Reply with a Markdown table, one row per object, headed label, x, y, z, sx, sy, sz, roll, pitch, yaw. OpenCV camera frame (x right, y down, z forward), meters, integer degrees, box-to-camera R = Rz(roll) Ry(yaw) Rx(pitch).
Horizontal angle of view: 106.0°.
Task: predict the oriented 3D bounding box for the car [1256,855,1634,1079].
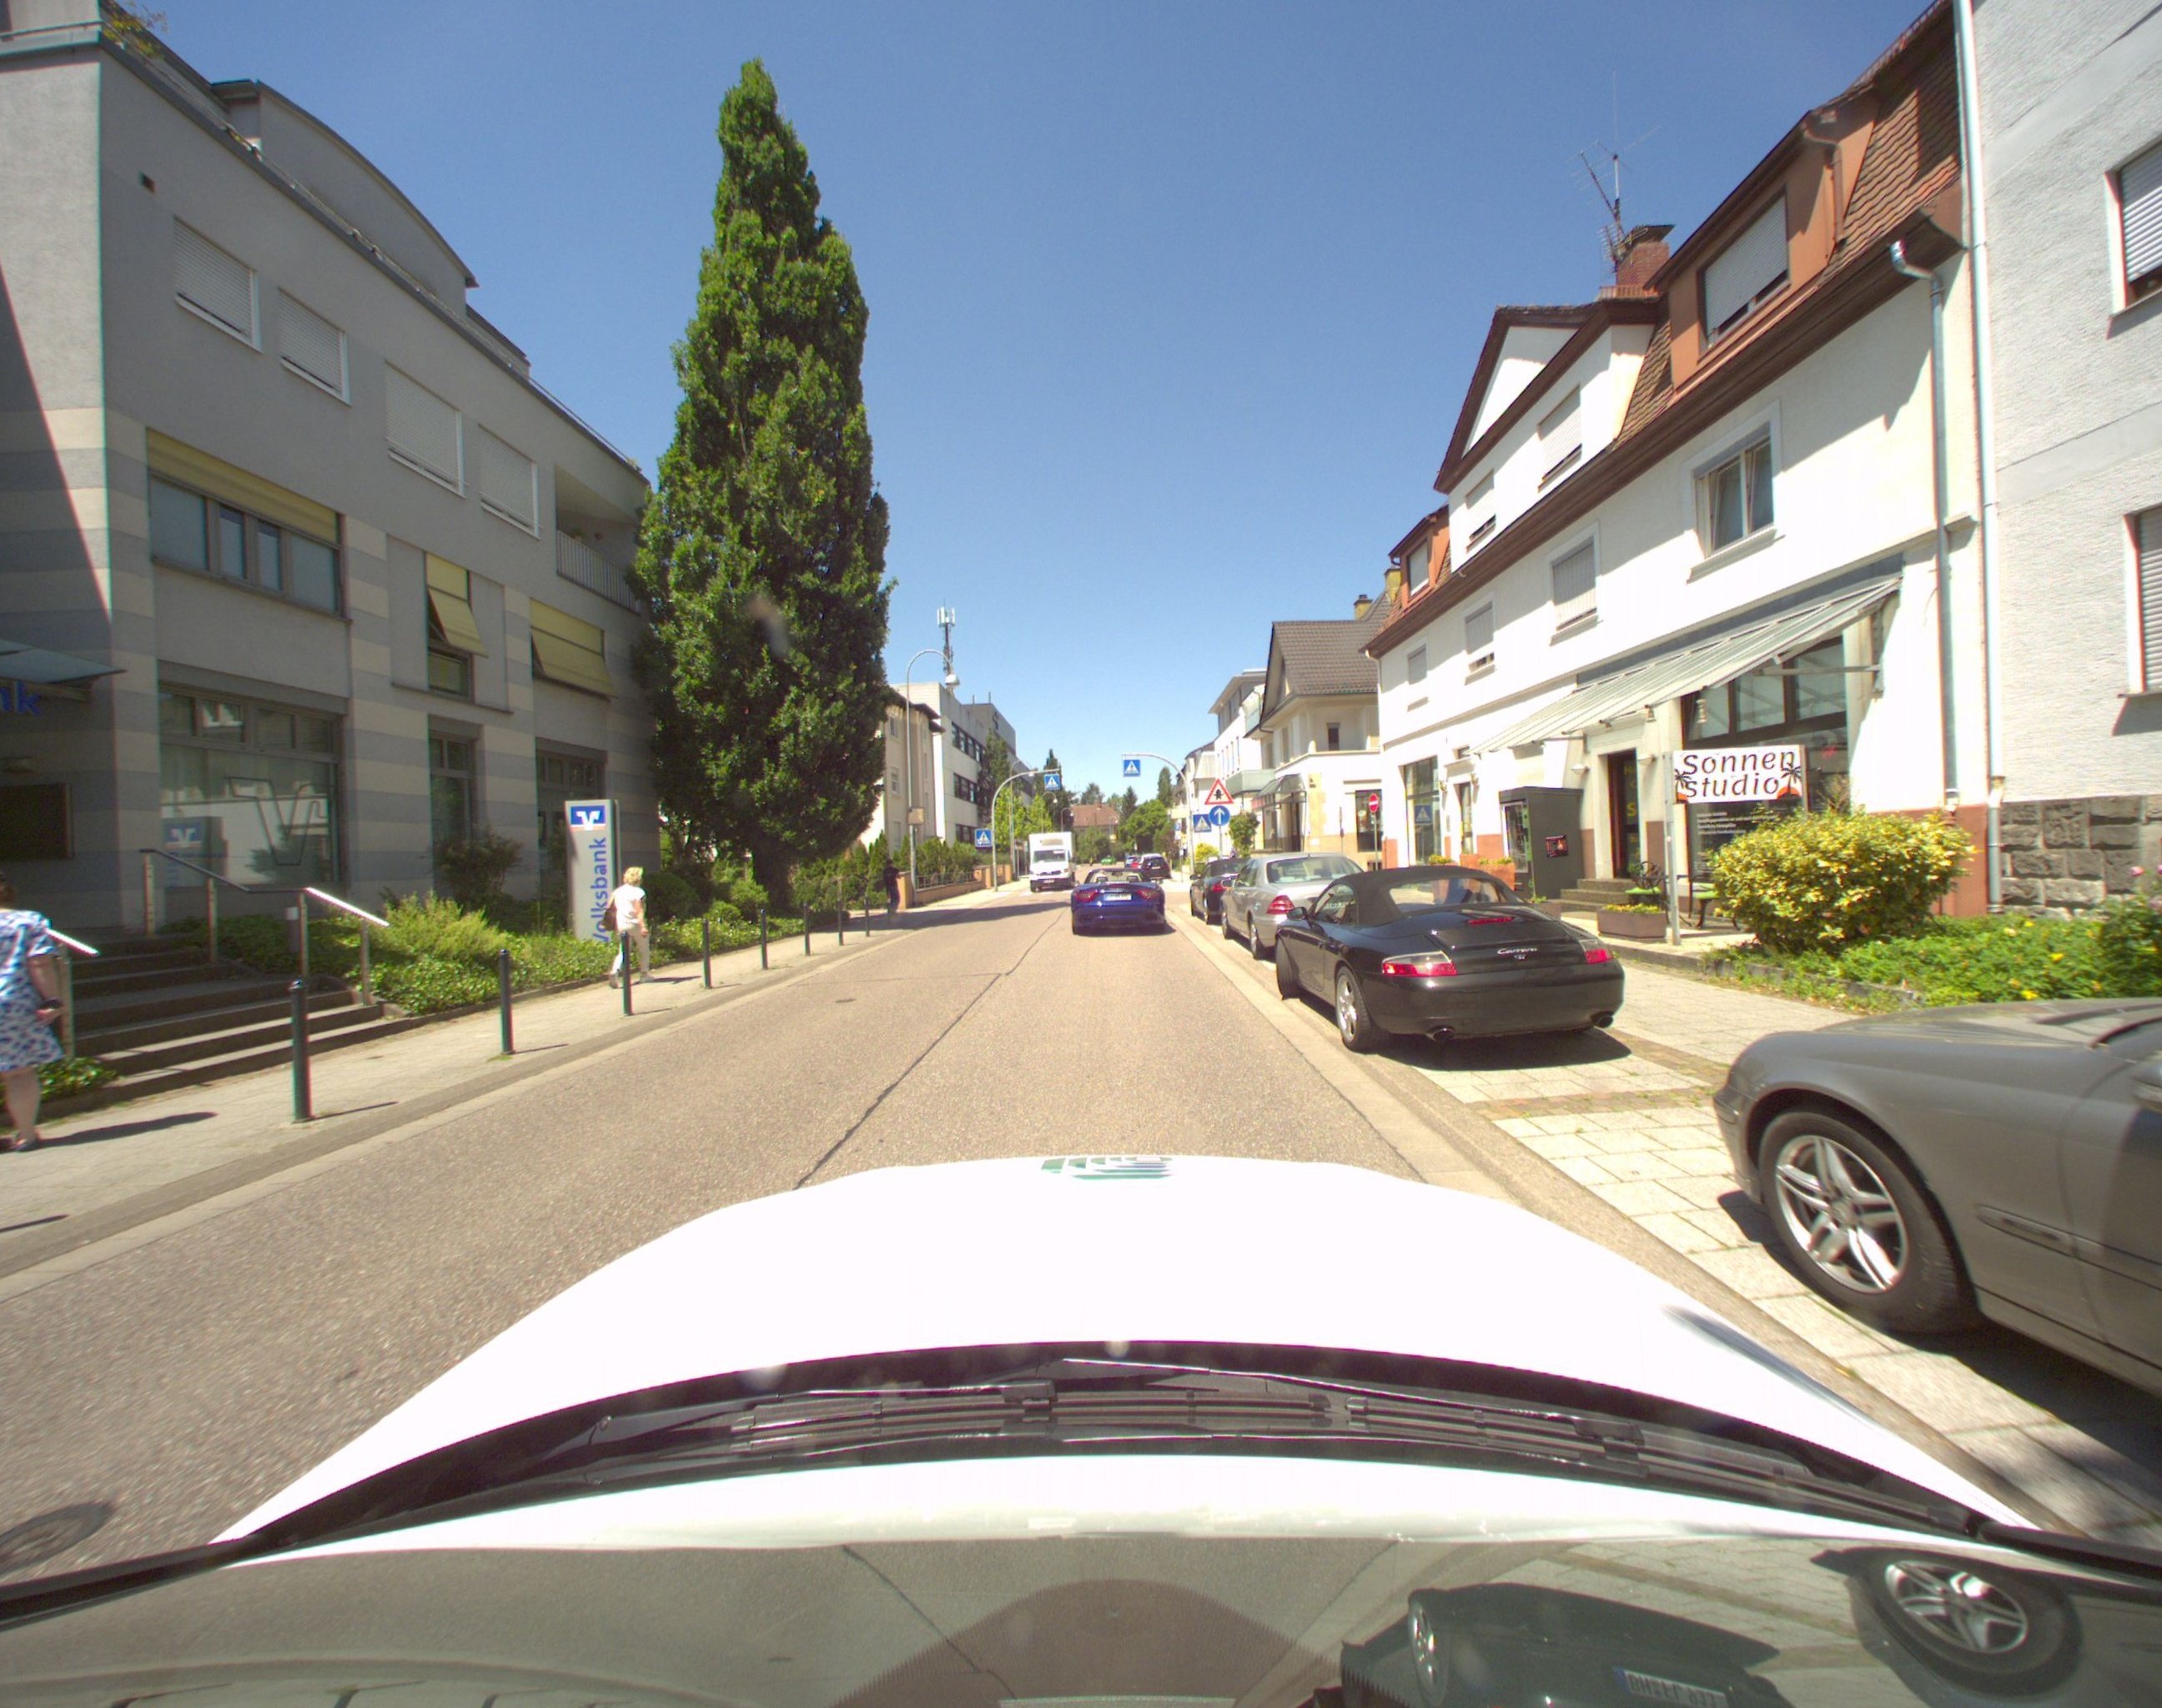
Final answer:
| label | x | y | z | sx | sy | sz | roll | pitch | yaw |
| --- | --- | --- | --- | --- | --- | --- | --- | --- | --- |
| car | 2.775 | 0.736 | 7.300 | 1.552 | 1.340 | 4.175 | -4 | -1 | 2 |

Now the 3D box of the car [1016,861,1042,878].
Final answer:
| label | x | y | z | sx | sy | sz | roll | pitch | yaw |
| --- | --- | --- | --- | --- | --- | --- | --- | --- | --- |
| car | -4.604 | 1.402 | 72.854 | 1.815 | 1.411 | 4.580 | -1 | 0 | 2 |

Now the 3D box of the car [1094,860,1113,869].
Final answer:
| label | x | y | z | sx | sy | sz | roll | pitch | yaw |
| --- | --- | --- | --- | --- | --- | --- | --- | --- | --- |
| car | 3.960 | 1.911 | 144.840 | 1.829 | 1.588 | 4.071 | 2 | -1 | -21 |

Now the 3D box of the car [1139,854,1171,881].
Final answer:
| label | x | y | z | sx | sy | sz | roll | pitch | yaw |
| --- | --- | --- | --- | --- | --- | --- | --- | --- | --- |
| car | 4.737 | 0.844 | 52.377 | 1.698 | 1.556 | 4.750 | -5 | 0 | 2 |

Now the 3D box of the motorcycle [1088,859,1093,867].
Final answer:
| label | x | y | z | sx | sy | sz | roll | pitch | yaw |
| --- | --- | --- | --- | --- | --- | --- | --- | --- | --- |
| motorcycle | 1.595 | 1.461 | 131.686 | 0.696 | 1.107 | 1.791 | -4 | 0 | 3 |

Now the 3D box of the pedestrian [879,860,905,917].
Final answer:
| label | x | y | z | sx | sy | sz | roll | pitch | yaw |
| --- | --- | --- | --- | --- | --- | --- | --- | --- | --- |
| pedestrian | -5.691 | 1.024 | 24.535 | 0.534 | 1.685 | 0.709 | -2 | -1 | 2 |

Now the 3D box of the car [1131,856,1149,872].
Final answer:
| label | x | y | z | sx | sy | sz | roll | pitch | yaw |
| --- | --- | --- | --- | --- | --- | --- | --- | --- | --- |
| car | 5.735 | 0.981 | 79.963 | 1.597 | 1.440 | 3.856 | -5 | 0 | 3 |

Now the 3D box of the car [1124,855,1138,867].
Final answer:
| label | x | y | z | sx | sy | sz | roll | pitch | yaw |
| --- | --- | --- | --- | --- | --- | --- | --- | --- | --- |
| car | 6.856 | 0.951 | 111.565 | 1.625 | 1.446 | 4.400 | -5 | 0 | 2 |

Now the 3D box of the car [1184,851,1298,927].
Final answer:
| label | x | y | z | sx | sy | sz | roll | pitch | yaw |
| --- | --- | --- | --- | --- | --- | --- | --- | --- | --- |
| car | 3.561 | 0.731 | 18.993 | 1.820 | 1.427 | 4.702 | -4 | -1 | 2 |

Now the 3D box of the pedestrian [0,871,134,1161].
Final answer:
| label | x | y | z | sx | sy | sz | roll | pitch | yaw |
| --- | --- | --- | --- | --- | --- | --- | --- | --- | --- |
| pedestrian | -6.548 | 0.938 | 4.877 | 0.746 | 1.645 | 0.848 | -1 | -1 | 1 |

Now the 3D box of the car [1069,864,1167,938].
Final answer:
| label | x | y | z | sx | sy | sz | roll | pitch | yaw |
| --- | --- | --- | --- | --- | --- | --- | --- | --- | --- |
| car | 0.791 | 0.923 | 17.898 | 1.820 | 1.337 | 4.702 | -1 | 0 | 2 |

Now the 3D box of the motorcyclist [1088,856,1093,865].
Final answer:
| label | x | y | z | sx | sy | sz | roll | pitch | yaw |
| --- | --- | --- | --- | --- | --- | --- | --- | --- | --- |
| motorcyclist | 1.564 | 1.091 | 131.535 | 0.696 | 1.433 | 0.708 | -4 | -1 | 2 |

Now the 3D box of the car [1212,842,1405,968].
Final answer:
| label | x | y | z | sx | sy | sz | roll | pitch | yaw |
| --- | --- | --- | --- | --- | --- | --- | --- | --- | --- |
| car | 3.281 | 0.663 | 12.806 | 1.737 | 1.468 | 4.854 | -5 | -1 | 2 |

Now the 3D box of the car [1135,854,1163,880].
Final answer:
| label | x | y | z | sx | sy | sz | roll | pitch | yaw |
| --- | --- | --- | --- | --- | --- | --- | --- | --- | --- |
| car | 4.870 | 0.894 | 58.526 | 1.698 | 1.666 | 4.583 | -4 | 0 | 2 |

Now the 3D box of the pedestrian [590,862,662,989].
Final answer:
| label | x | y | z | sx | sy | sz | roll | pitch | yaw |
| --- | --- | --- | --- | --- | --- | --- | --- | --- | --- |
| pedestrian | -6.277 | 0.966 | 11.264 | 0.534 | 1.685 | 0.709 | -2 | -1 | 2 |

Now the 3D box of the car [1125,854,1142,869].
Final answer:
| label | x | y | z | sx | sy | sz | roll | pitch | yaw |
| --- | --- | --- | --- | --- | --- | --- | --- | --- | --- |
| car | 6.237 | 0.865 | 96.916 | 1.836 | 1.619 | 4.430 | -4 | 0 | 3 |

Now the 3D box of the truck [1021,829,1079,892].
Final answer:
| label | x | y | z | sx | sy | sz | roll | pitch | yaw |
| --- | --- | --- | --- | --- | --- | --- | --- | --- | --- |
| truck | -1.514 | 0.330 | 42.806 | 2.410 | 2.983 | 6.261 | -3 | 0 | 2 |
